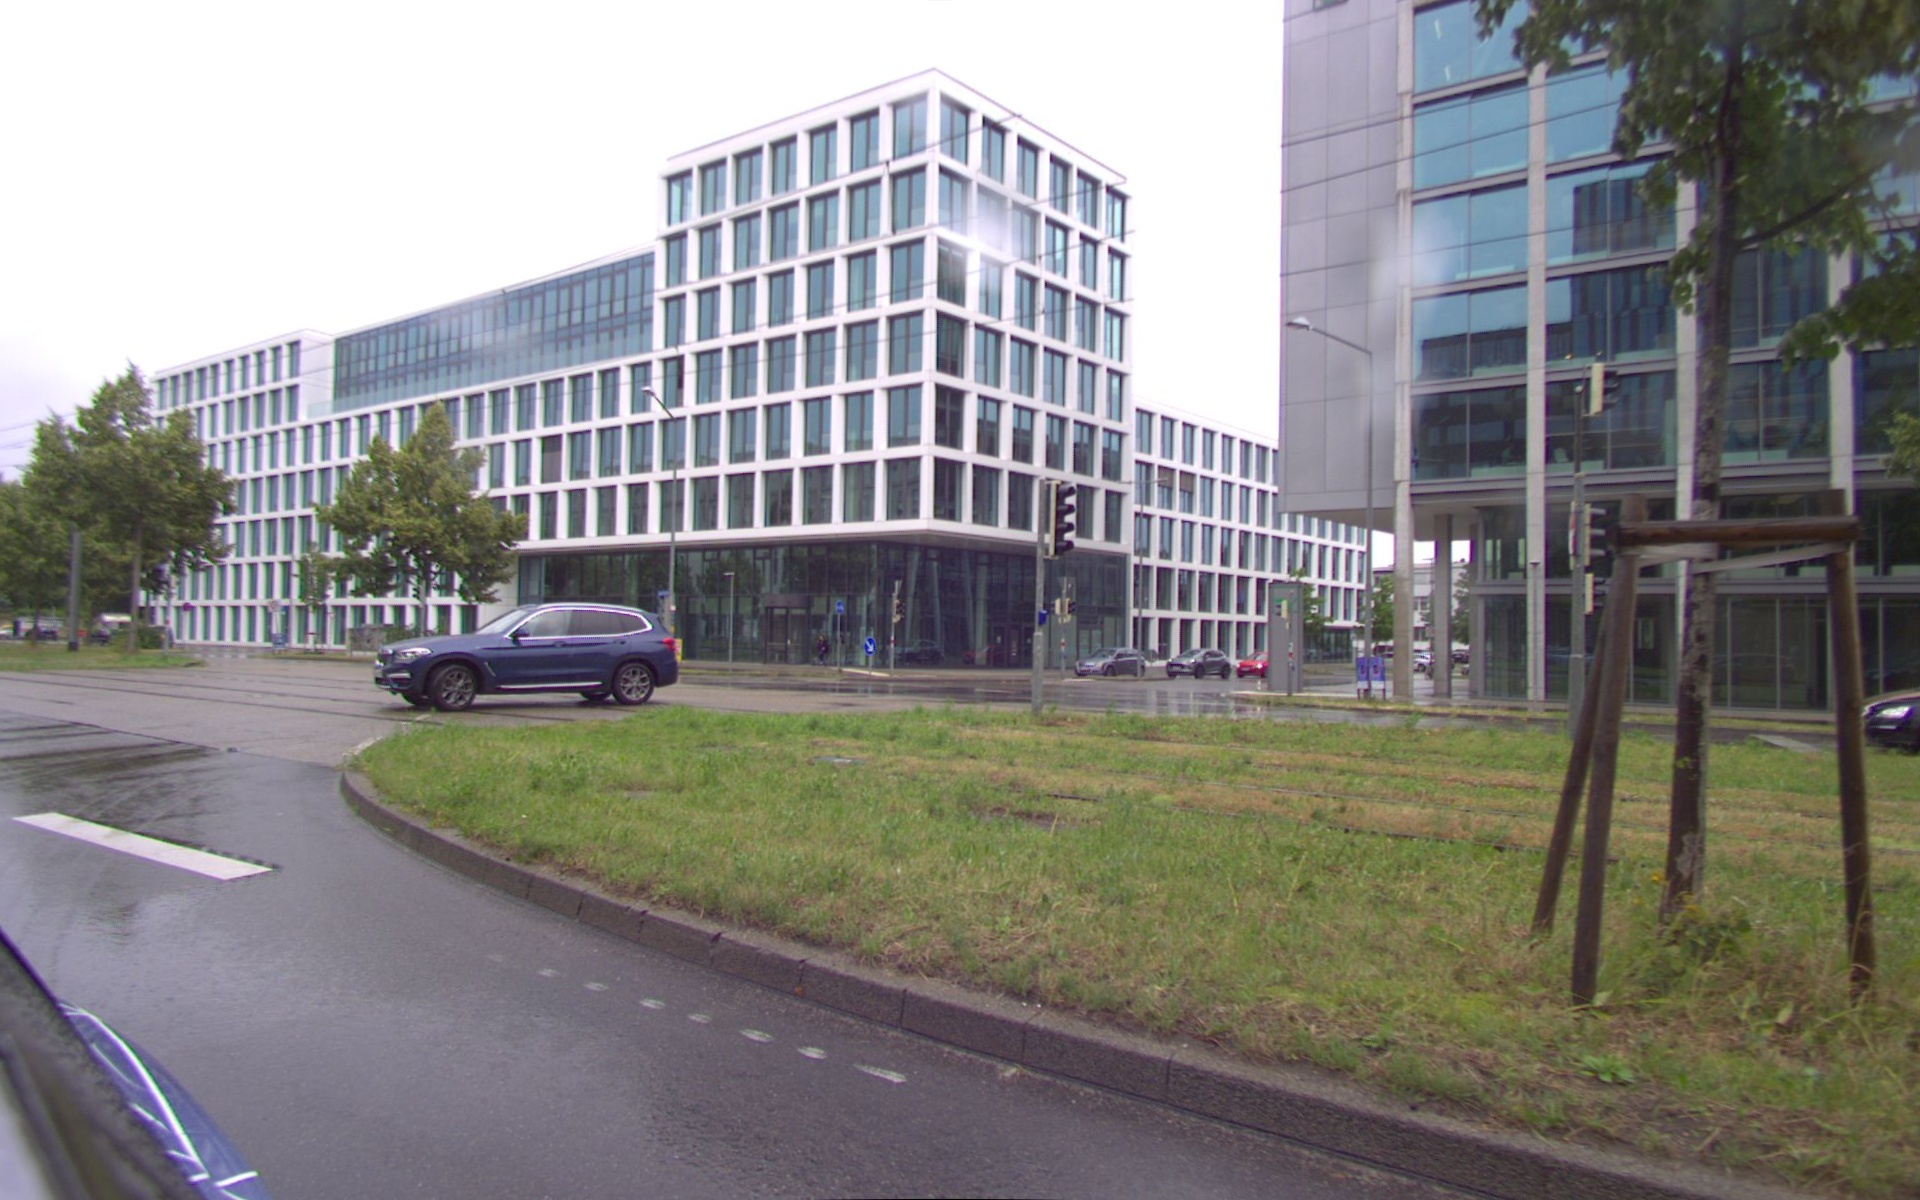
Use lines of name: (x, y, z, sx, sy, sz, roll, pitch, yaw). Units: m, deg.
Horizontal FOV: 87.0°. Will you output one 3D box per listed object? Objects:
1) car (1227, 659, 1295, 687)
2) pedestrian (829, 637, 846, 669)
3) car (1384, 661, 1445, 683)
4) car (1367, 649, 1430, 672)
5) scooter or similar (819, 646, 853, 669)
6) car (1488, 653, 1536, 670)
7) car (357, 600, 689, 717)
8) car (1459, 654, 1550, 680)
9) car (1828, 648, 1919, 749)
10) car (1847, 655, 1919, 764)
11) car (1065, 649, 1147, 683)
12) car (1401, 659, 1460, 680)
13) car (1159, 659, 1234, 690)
car: (16.865, 4.041, 56.618, 1.888, 1.447, 4.034, -4, -4, 45)
pedestrian: (-6.353, 2.763, 52.672, 0.544, 1.656, 0.628, 1, -2, 33)
car: (36.559, 5.790, 81.451, 3.998, 1.675, 1.973, -4, -4, 41)
car: (33.995, 4.702, 78.471, 3.998, 1.675, 1.973, -4, -4, 41)
scooter or similar: (-6.445, 2.994, 52.642, 0.548, 1.161, 2.140, -3, -4, 30)
car: (56.801, 6.378, 104.224, 3.998, 1.675, 1.973, -4, -4, 41)
car: (-7.097, 0.963, 16.698, 4.640, 1.673, 1.933, 3, -4, -39)
car: (34.497, 4.260, 64.211, 1.971, 1.519, 4.663, 2, -4, -44)
car: (17.913, 1.659, 17.328, 4.255, 1.707, 1.937, -3, -4, 30)
car: (15.971, 1.580, 14.589, 4.448, 1.571, 1.936, -2, -3, 32)
car: (6.823, 3.046, 46.918, 1.886, 1.447, 4.039, -4, -4, 40)
car: (38.856, 5.712, 83.676, 3.998, 1.675, 1.973, -4, -4, 41)
car: (12.037, 3.746, 51.416, 1.888, 1.447, 4.034, -4, -4, 45)
